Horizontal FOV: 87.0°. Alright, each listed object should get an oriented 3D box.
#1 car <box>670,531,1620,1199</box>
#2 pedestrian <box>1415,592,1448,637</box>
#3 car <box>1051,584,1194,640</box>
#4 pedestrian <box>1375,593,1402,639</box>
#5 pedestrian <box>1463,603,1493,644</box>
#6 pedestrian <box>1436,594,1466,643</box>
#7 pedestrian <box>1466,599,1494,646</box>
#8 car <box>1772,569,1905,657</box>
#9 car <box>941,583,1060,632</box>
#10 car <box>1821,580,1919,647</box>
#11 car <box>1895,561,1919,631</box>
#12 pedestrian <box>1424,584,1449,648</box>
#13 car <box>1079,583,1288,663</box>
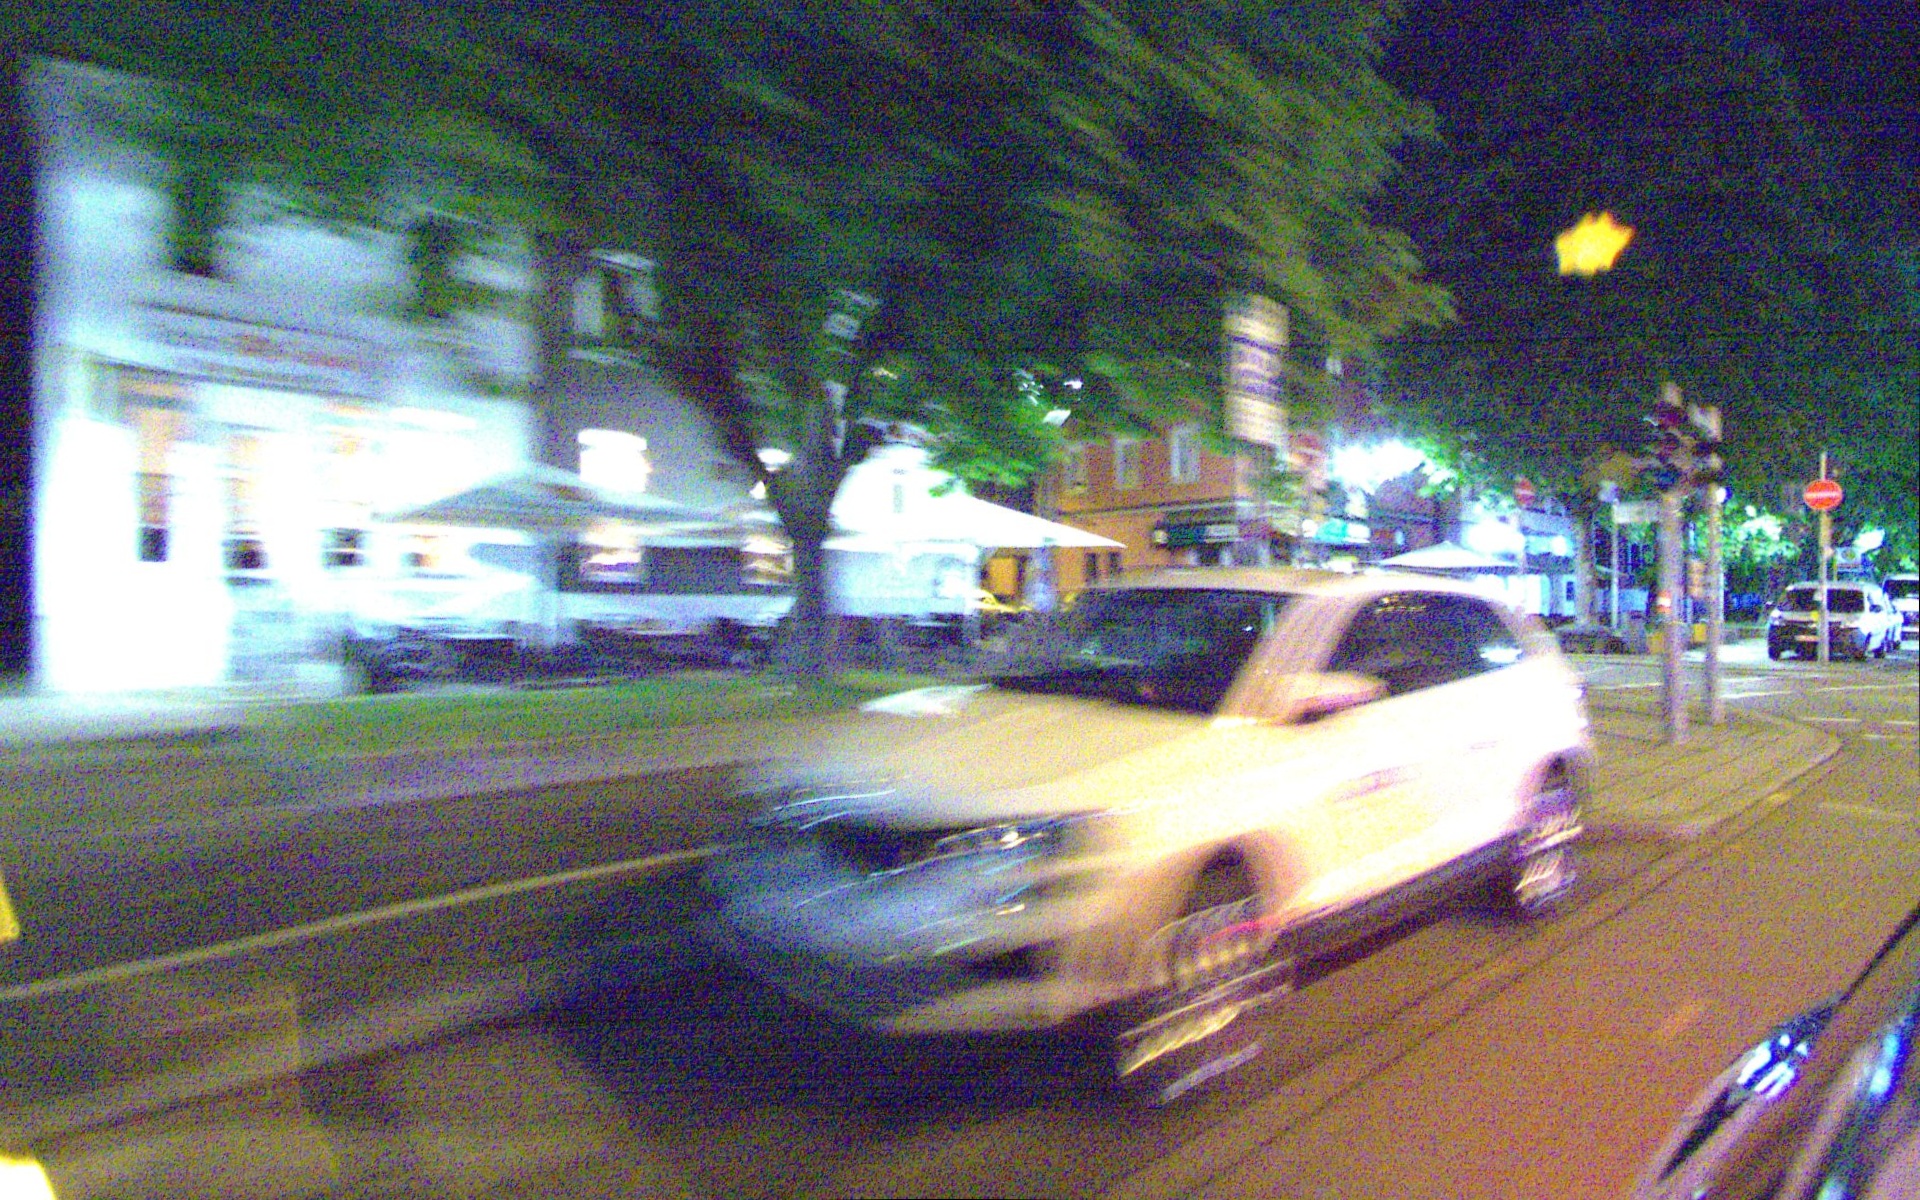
[{"bbox_3d":[1.099,0.582,4.337,4.142,1.556,1.774,0,2,-40],"label":"car"},{"bbox_3d":[13.379,0.407,28.726,0.518,1.280,0.685,0,0,-13],"label":"pedestrian"},{"bbox_3d":[4.926,0.337,31.155,1.771,1.569,4.150,2,0,-41],"label":"car"},{"bbox_3d":[12.153,0.453,28.695,0.518,1.280,0.503,0,0,-13],"label":"pedestrian"},{"bbox_3d":[13.707,0.611,26.781,0.492,1.067,0.530,0,0,-11],"label":"pedestrian"},{"bbox_3d":[13.056,0.489,26.926,0.492,1.280,0.530,0,0,-11],"label":"pedestrian"},{"bbox_3d":[13.319,0.576,25.916,0.508,1.183,0.391,0,0,-5],"label":"pedestrian"},{"bbox_3d":[20.424,0.261,23.454,4.501,1.845,1.791,0,1,-42],"label":"car"},{"bbox_3d":[1.354,0.233,35.208,1.771,1.569,4.150,2,0,-41],"label":"car"},{"bbox_3d":[24.934,0.322,27.640,4.224,1.680,1.686,0,1,-43],"label":"car"},{"bbox_3d":[34.374,-0.124,35.501,2.135,2.356,5.068,1,1,45],"label":"car"},{"bbox_3d":[12.216,0.404,25.947,0.364,1.608,0.482,0,0,-5],"label":"pedestrian"},{"bbox_3d":[4.824,0.421,22.329,1.772,1.550,4.323,-2,2,-41],"label":"car"}]
